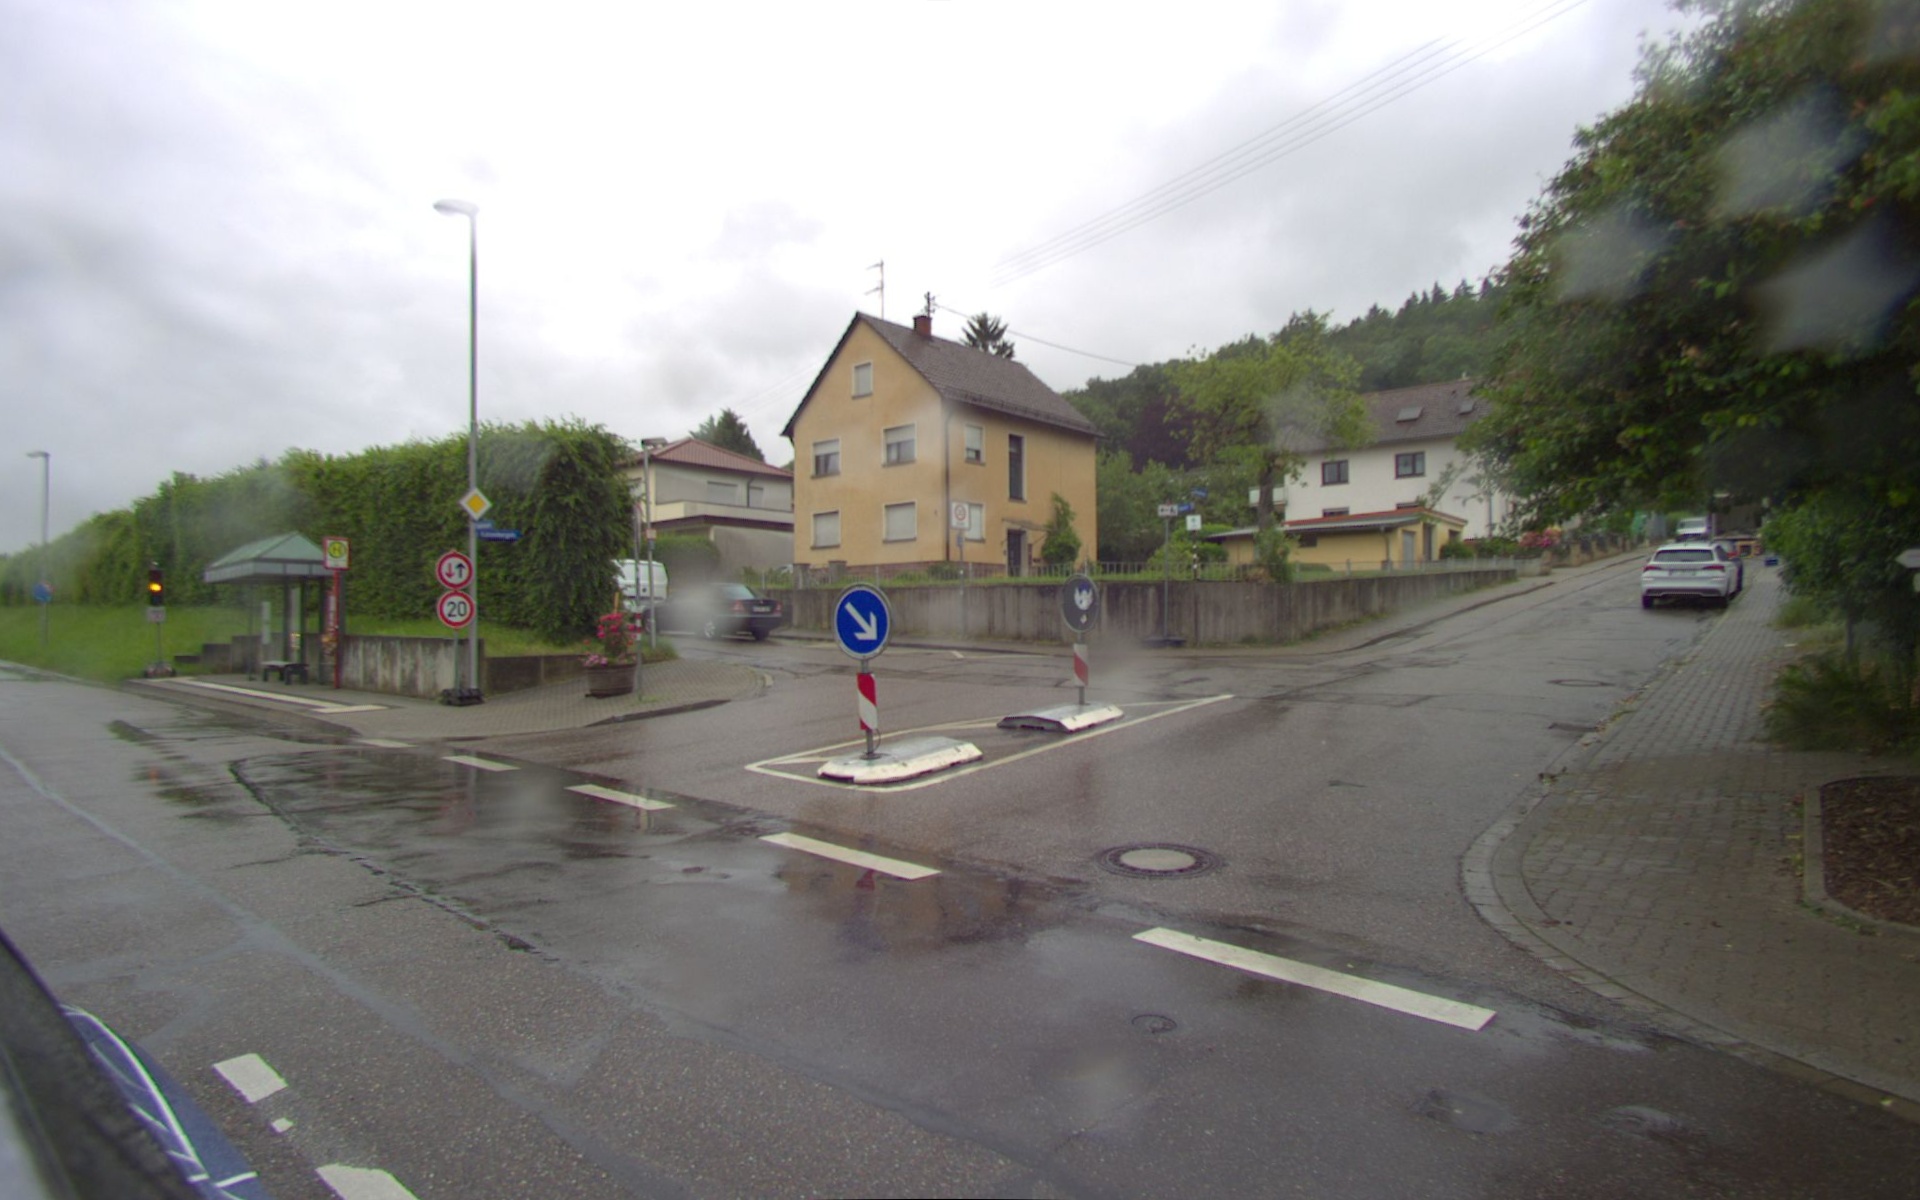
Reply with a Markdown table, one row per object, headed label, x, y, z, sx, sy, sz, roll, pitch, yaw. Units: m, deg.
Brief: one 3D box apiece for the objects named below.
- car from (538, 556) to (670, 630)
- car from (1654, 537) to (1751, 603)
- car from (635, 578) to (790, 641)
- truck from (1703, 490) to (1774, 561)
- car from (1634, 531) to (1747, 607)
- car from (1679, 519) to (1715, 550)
| label | x | y | z | sx | sy | sz | roll | pitch | yaw |
| --- | --- | --- | --- | --- | --- | --- | --- | --- | --- |
| car | -10.525 | -0.248 | 29.740 | 4.318 | 2.020 | 1.764 | 2 | 2 | 41 |
| car | 21.549 | -0.890 | 29.303 | 1.900 | 1.525 | 3.840 | -1 | 6 | 42 |
| car | -6.362 | 0.195 | 25.764 | 4.221 | 1.399 | 1.726 | 2 | 2 | 41 |
| truck | 40.688 | -3.812 | 52.811 | 2.453 | 3.377 | 6.567 | -1 | 2 | 42 |
| car | 18.311 | -0.798 | 25.306 | 1.900 | 1.525 | 3.840 | -1 | 6 | 42 |
| car | 51.516 | -4.552 | 70.708 | 1.914 | 2.028 | 3.950 | 0 | 2 | 38 |
